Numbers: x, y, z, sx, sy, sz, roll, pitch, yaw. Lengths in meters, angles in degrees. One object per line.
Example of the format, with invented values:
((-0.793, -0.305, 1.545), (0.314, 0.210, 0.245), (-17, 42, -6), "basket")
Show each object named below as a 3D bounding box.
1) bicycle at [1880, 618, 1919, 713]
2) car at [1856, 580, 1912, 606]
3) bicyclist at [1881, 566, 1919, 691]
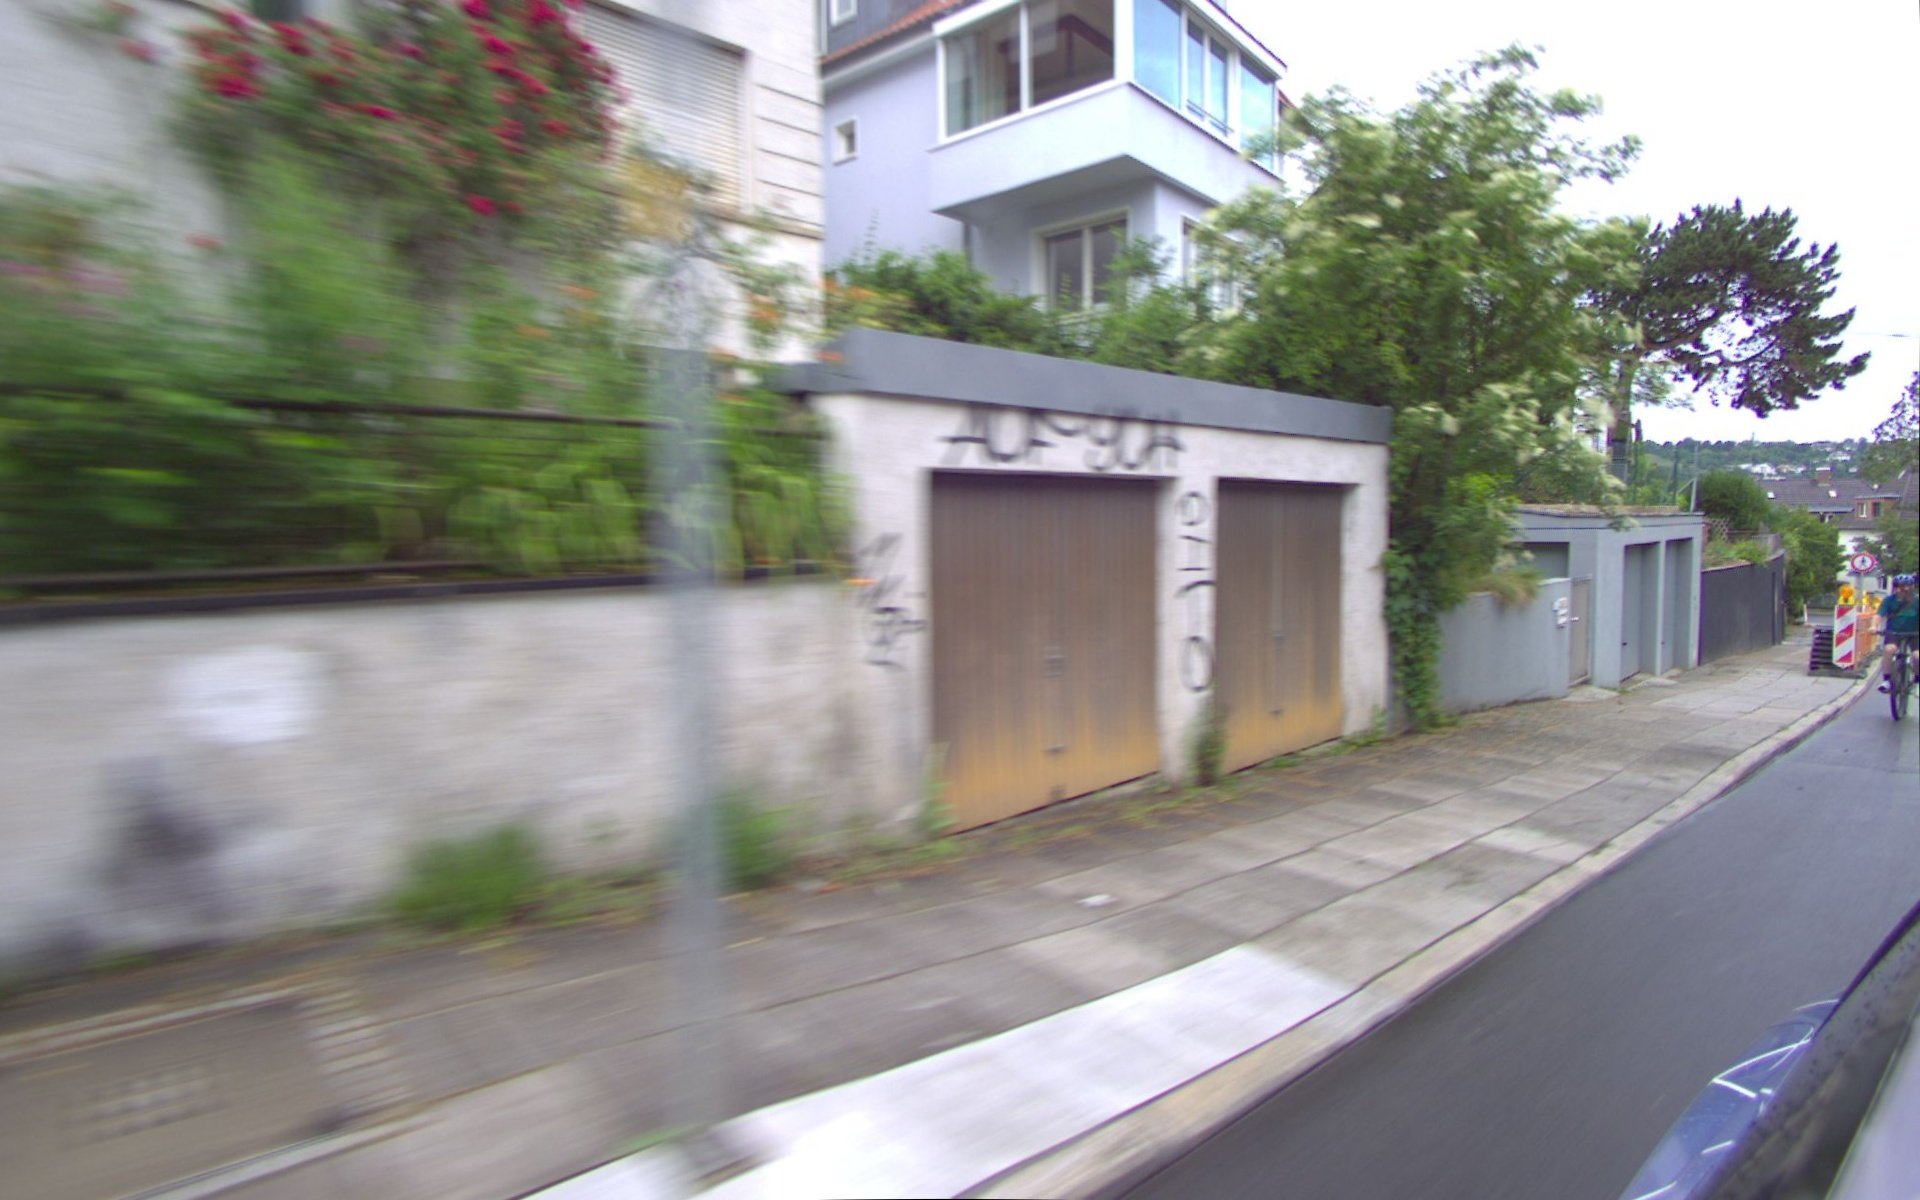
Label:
((12.128, 0.809, 12.845), (1.503, 1.112, 0.589), (-1, 1, -45), "bicycle")
((67.340, -0.491, 73.860), (1.981, 1.738, 3.961), (0, -2, 27), "car")
((12.192, 0.347, 12.851), (0.772, 1.556, 0.683), (0, 0, -44), "bicyclist")
